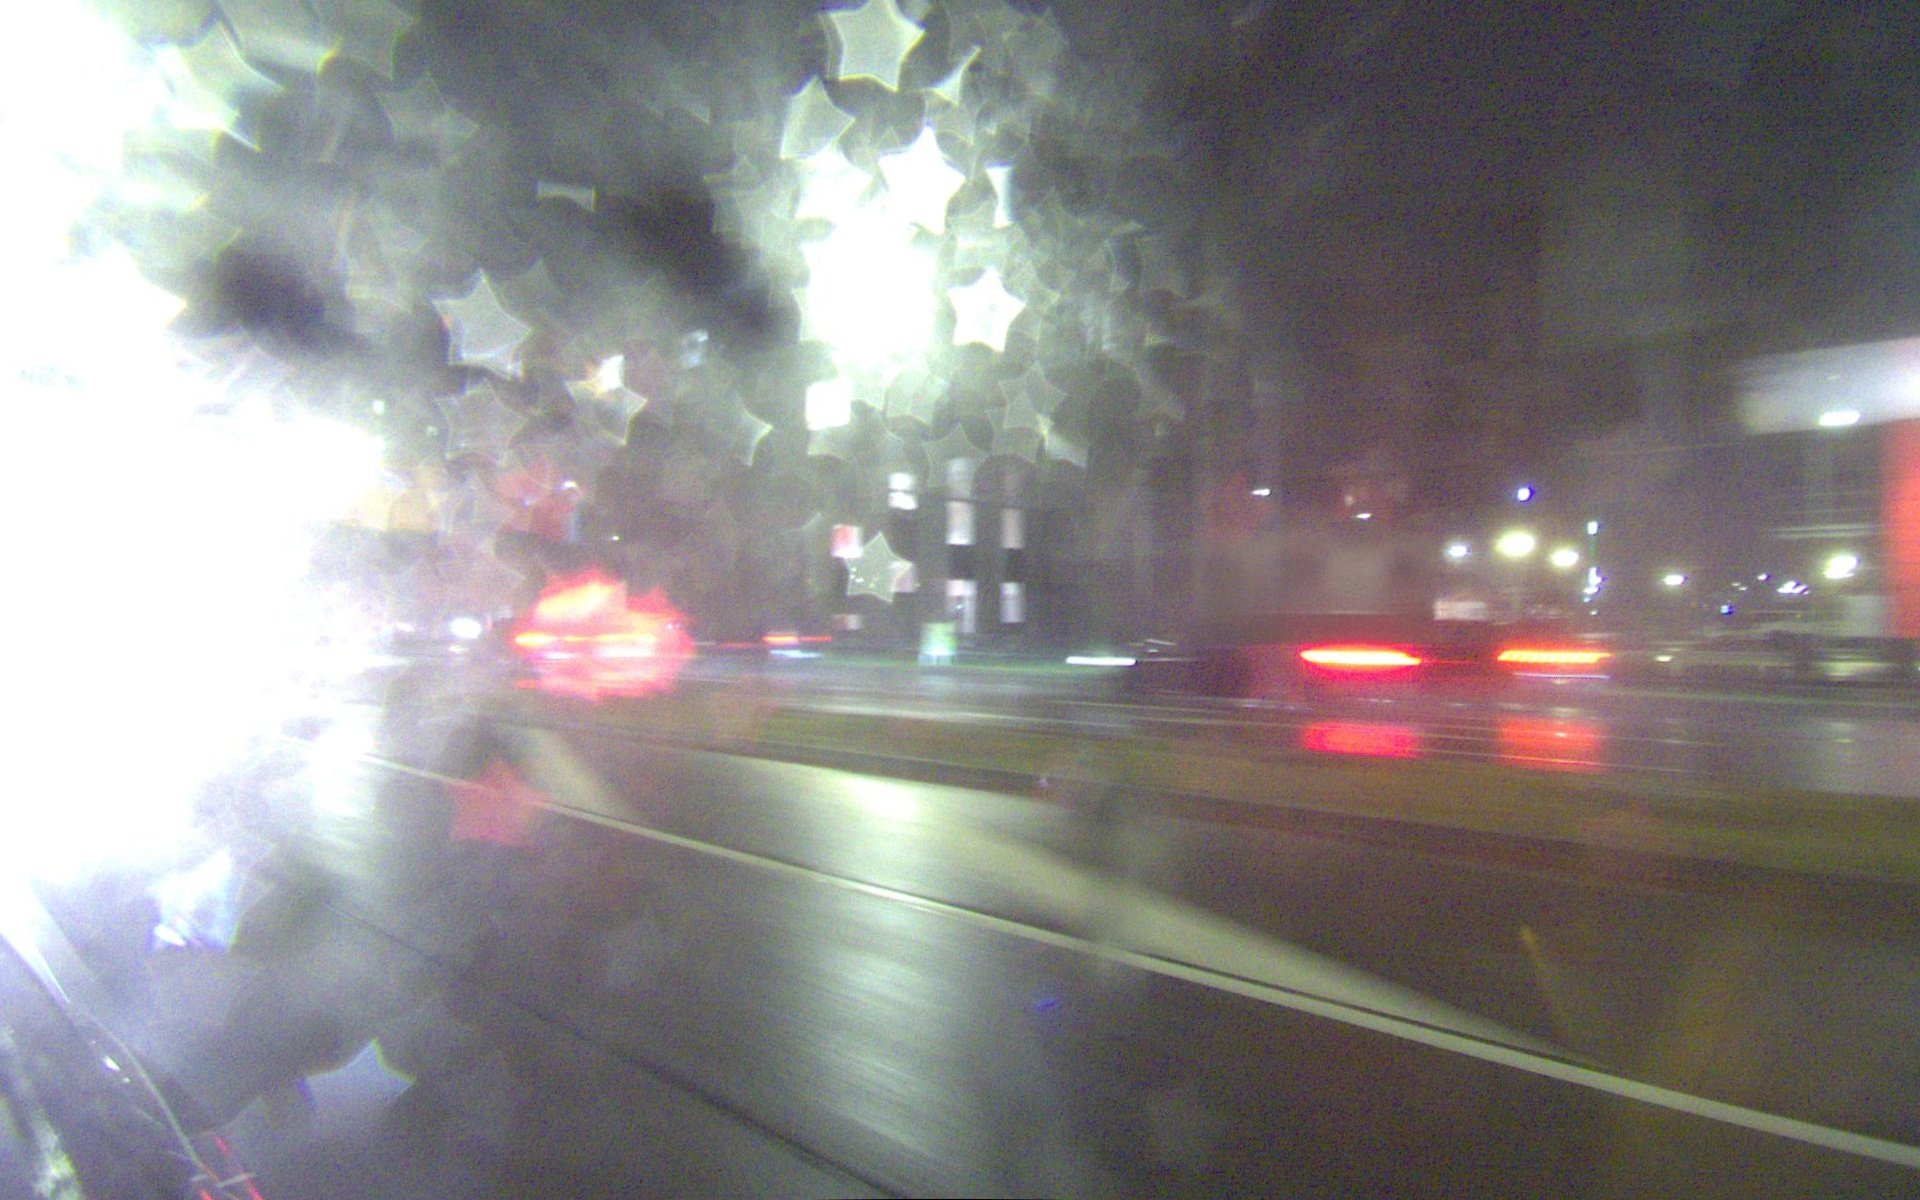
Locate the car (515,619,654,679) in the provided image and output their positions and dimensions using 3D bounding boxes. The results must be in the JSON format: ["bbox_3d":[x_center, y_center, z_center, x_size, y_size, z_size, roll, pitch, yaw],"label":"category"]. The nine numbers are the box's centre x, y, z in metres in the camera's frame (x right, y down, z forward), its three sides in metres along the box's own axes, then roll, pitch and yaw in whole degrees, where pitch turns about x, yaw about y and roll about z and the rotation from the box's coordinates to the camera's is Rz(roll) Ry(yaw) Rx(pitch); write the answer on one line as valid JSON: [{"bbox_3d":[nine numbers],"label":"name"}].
[{"bbox_3d":[-11.134,1.380,29.831,4.748,1.604,1.824,-1,0,42],"label":"car"}]

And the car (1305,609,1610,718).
[{"bbox_3d":[8.413,0.992,17.343,4.364,1.604,1.824,-1,0,42],"label":"car"}]

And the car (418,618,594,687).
[{"bbox_3d":[-11.895,1.297,26.359,5.318,1.604,1.826,-1,0,37],"label":"car"}]

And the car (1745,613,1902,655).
[{"bbox_3d":[40.021,1.531,47.106,5.423,1.829,1.973,-1,0,40],"label":"car"}]

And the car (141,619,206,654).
[{"bbox_3d":[-38.065,1.745,48.944,3.816,1.589,1.690,-1,0,39],"label":"car"}]

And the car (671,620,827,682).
[{"bbox_3d":[-6.181,1.421,29.376,4.743,1.604,1.826,-1,0,38],"label":"car"}]

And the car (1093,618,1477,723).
[{"bbox_3d":[4.978,1.003,16.110,5.553,1.369,1.825,-1,0,39],"label":"car"}]

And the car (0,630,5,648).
[{"bbox_3d":[-88.037,3.513,91.670,3.816,1.589,1.690,-1,0,39],"label":"car"}]

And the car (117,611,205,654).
[{"bbox_3d":[-31.967,1.299,40.460,4.252,1.605,1.825,-1,-4,39],"label":"car"}]

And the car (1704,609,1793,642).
[{"bbox_3d":[45.353,1.440,58.258,3.997,1.829,1.973,-1,0,40],"label":"car"}]

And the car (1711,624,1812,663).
[{"bbox_3d":[40.871,2.171,51.667,3.997,1.829,1.973,-1,0,40],"label":"car"}]
